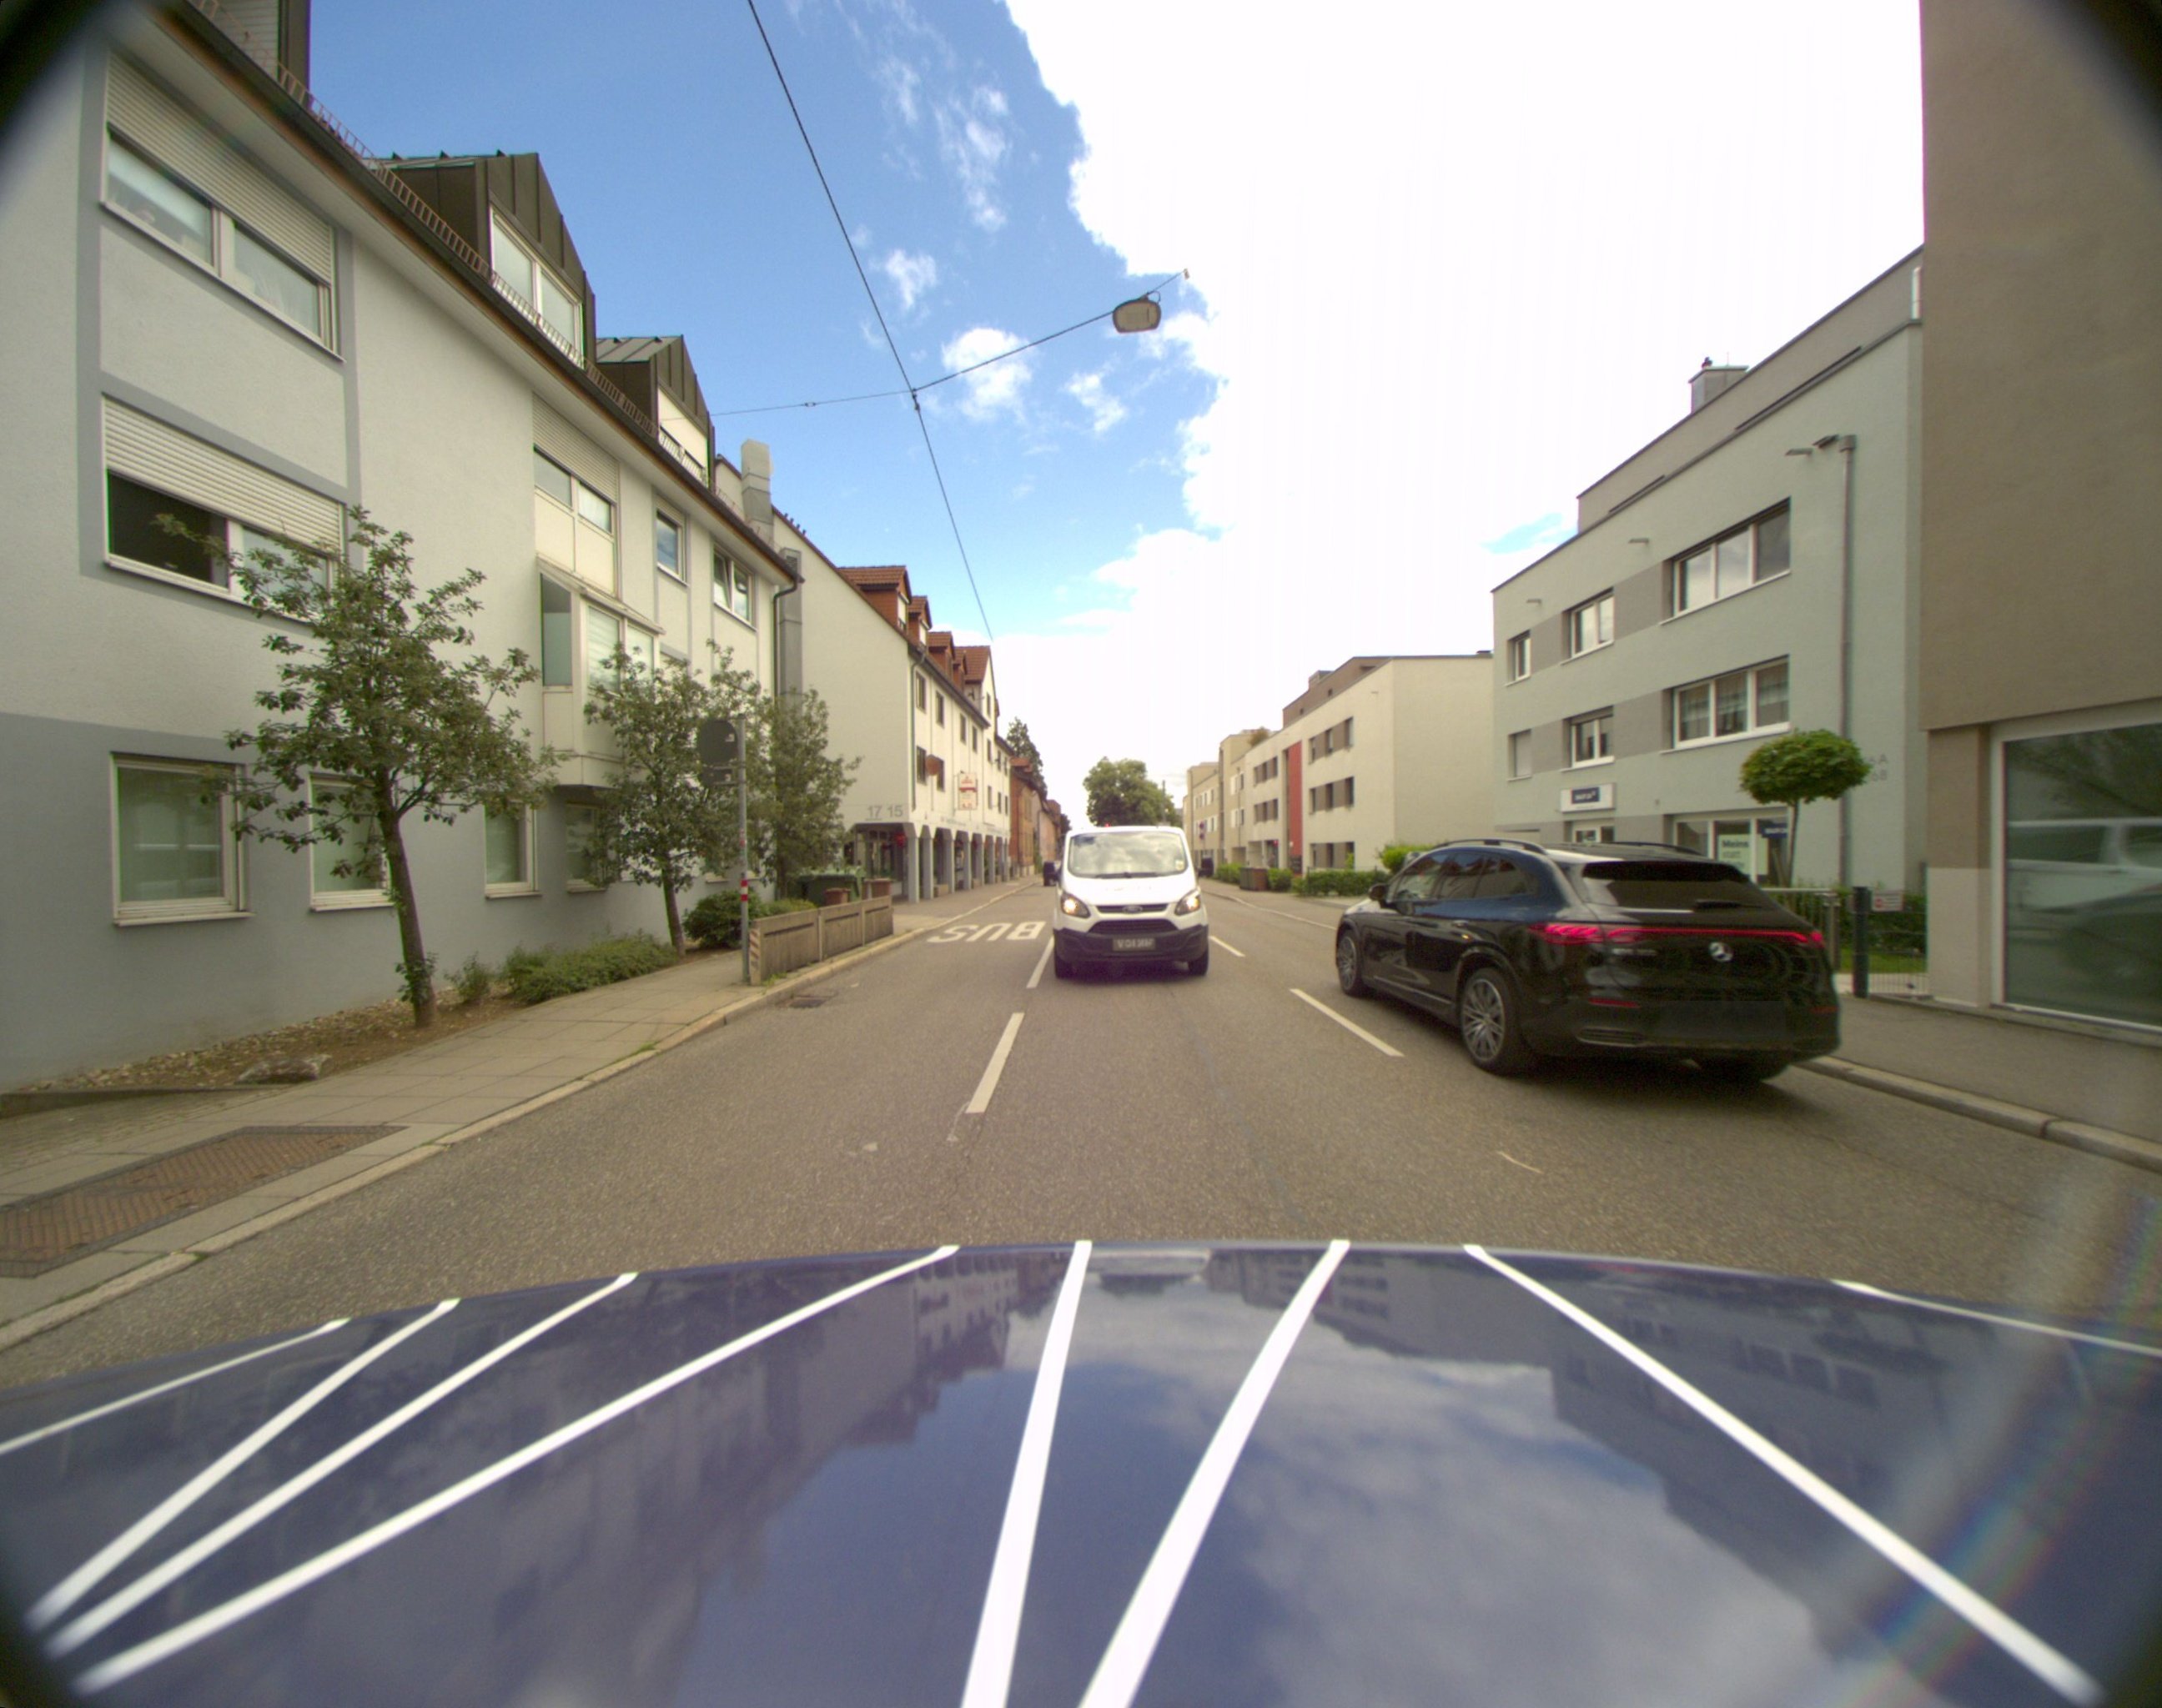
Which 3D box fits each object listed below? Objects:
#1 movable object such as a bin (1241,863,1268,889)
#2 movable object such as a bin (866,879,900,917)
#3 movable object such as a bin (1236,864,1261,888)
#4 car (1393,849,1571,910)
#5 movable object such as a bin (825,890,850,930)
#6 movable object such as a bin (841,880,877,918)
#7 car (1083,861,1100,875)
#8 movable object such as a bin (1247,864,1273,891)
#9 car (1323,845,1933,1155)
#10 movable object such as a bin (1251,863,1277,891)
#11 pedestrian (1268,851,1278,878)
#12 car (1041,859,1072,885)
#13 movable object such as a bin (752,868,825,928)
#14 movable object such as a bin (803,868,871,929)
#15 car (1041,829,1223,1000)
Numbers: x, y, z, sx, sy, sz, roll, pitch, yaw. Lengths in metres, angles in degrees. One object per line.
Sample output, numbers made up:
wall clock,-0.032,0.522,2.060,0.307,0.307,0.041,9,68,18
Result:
movable object such as a bin,7.773,0.981,34.111,0.959,1.144,0.840,-1,0,-3
movable object such as a bin,-5.900,1.304,22.688,0.685,1.061,0.972,-1,0,5
movable object such as a bin,7.708,1.008,35.002,0.897,1.082,0.792,-1,0,-3
car,11.380,0.697,21.797,4.172,1.658,1.725,0,1,4
movable object such as a bin,-5.751,1.313,17.948,0.431,0.915,0.465,-1,0,1
movable object such as a bin,-6.631,1.330,22.729,0.699,1.073,0.972,-1,0,5
car,1.106,1.505,81.971,1.755,1.485,3.986,-1,0,0
movable object such as a bin,7.822,1.004,33.258,0.951,1.144,0.749,-1,0,-3
car,3.834,0.828,6.598,1.998,1.728,4.553,1,0,0
movable object such as a bin,7.824,0.972,32.546,0.943,1.144,0.612,-1,0,-3
pedestrian,11.979,0.650,47.438,0.519,1.633,0.641,-1,1,19
car,-1.470,1.057,47.073,1.755,1.485,3.986,-1,0,0
movable object such as a bin,-7.354,1.096,19.186,1.270,1.426,1.307,-1,0,1
movable object such as a bin,-6.006,1.082,18.764,1.270,1.409,1.162,-1,0,1
car,0.606,0.692,11.272,2.062,1.945,5.060,-1,0,0
